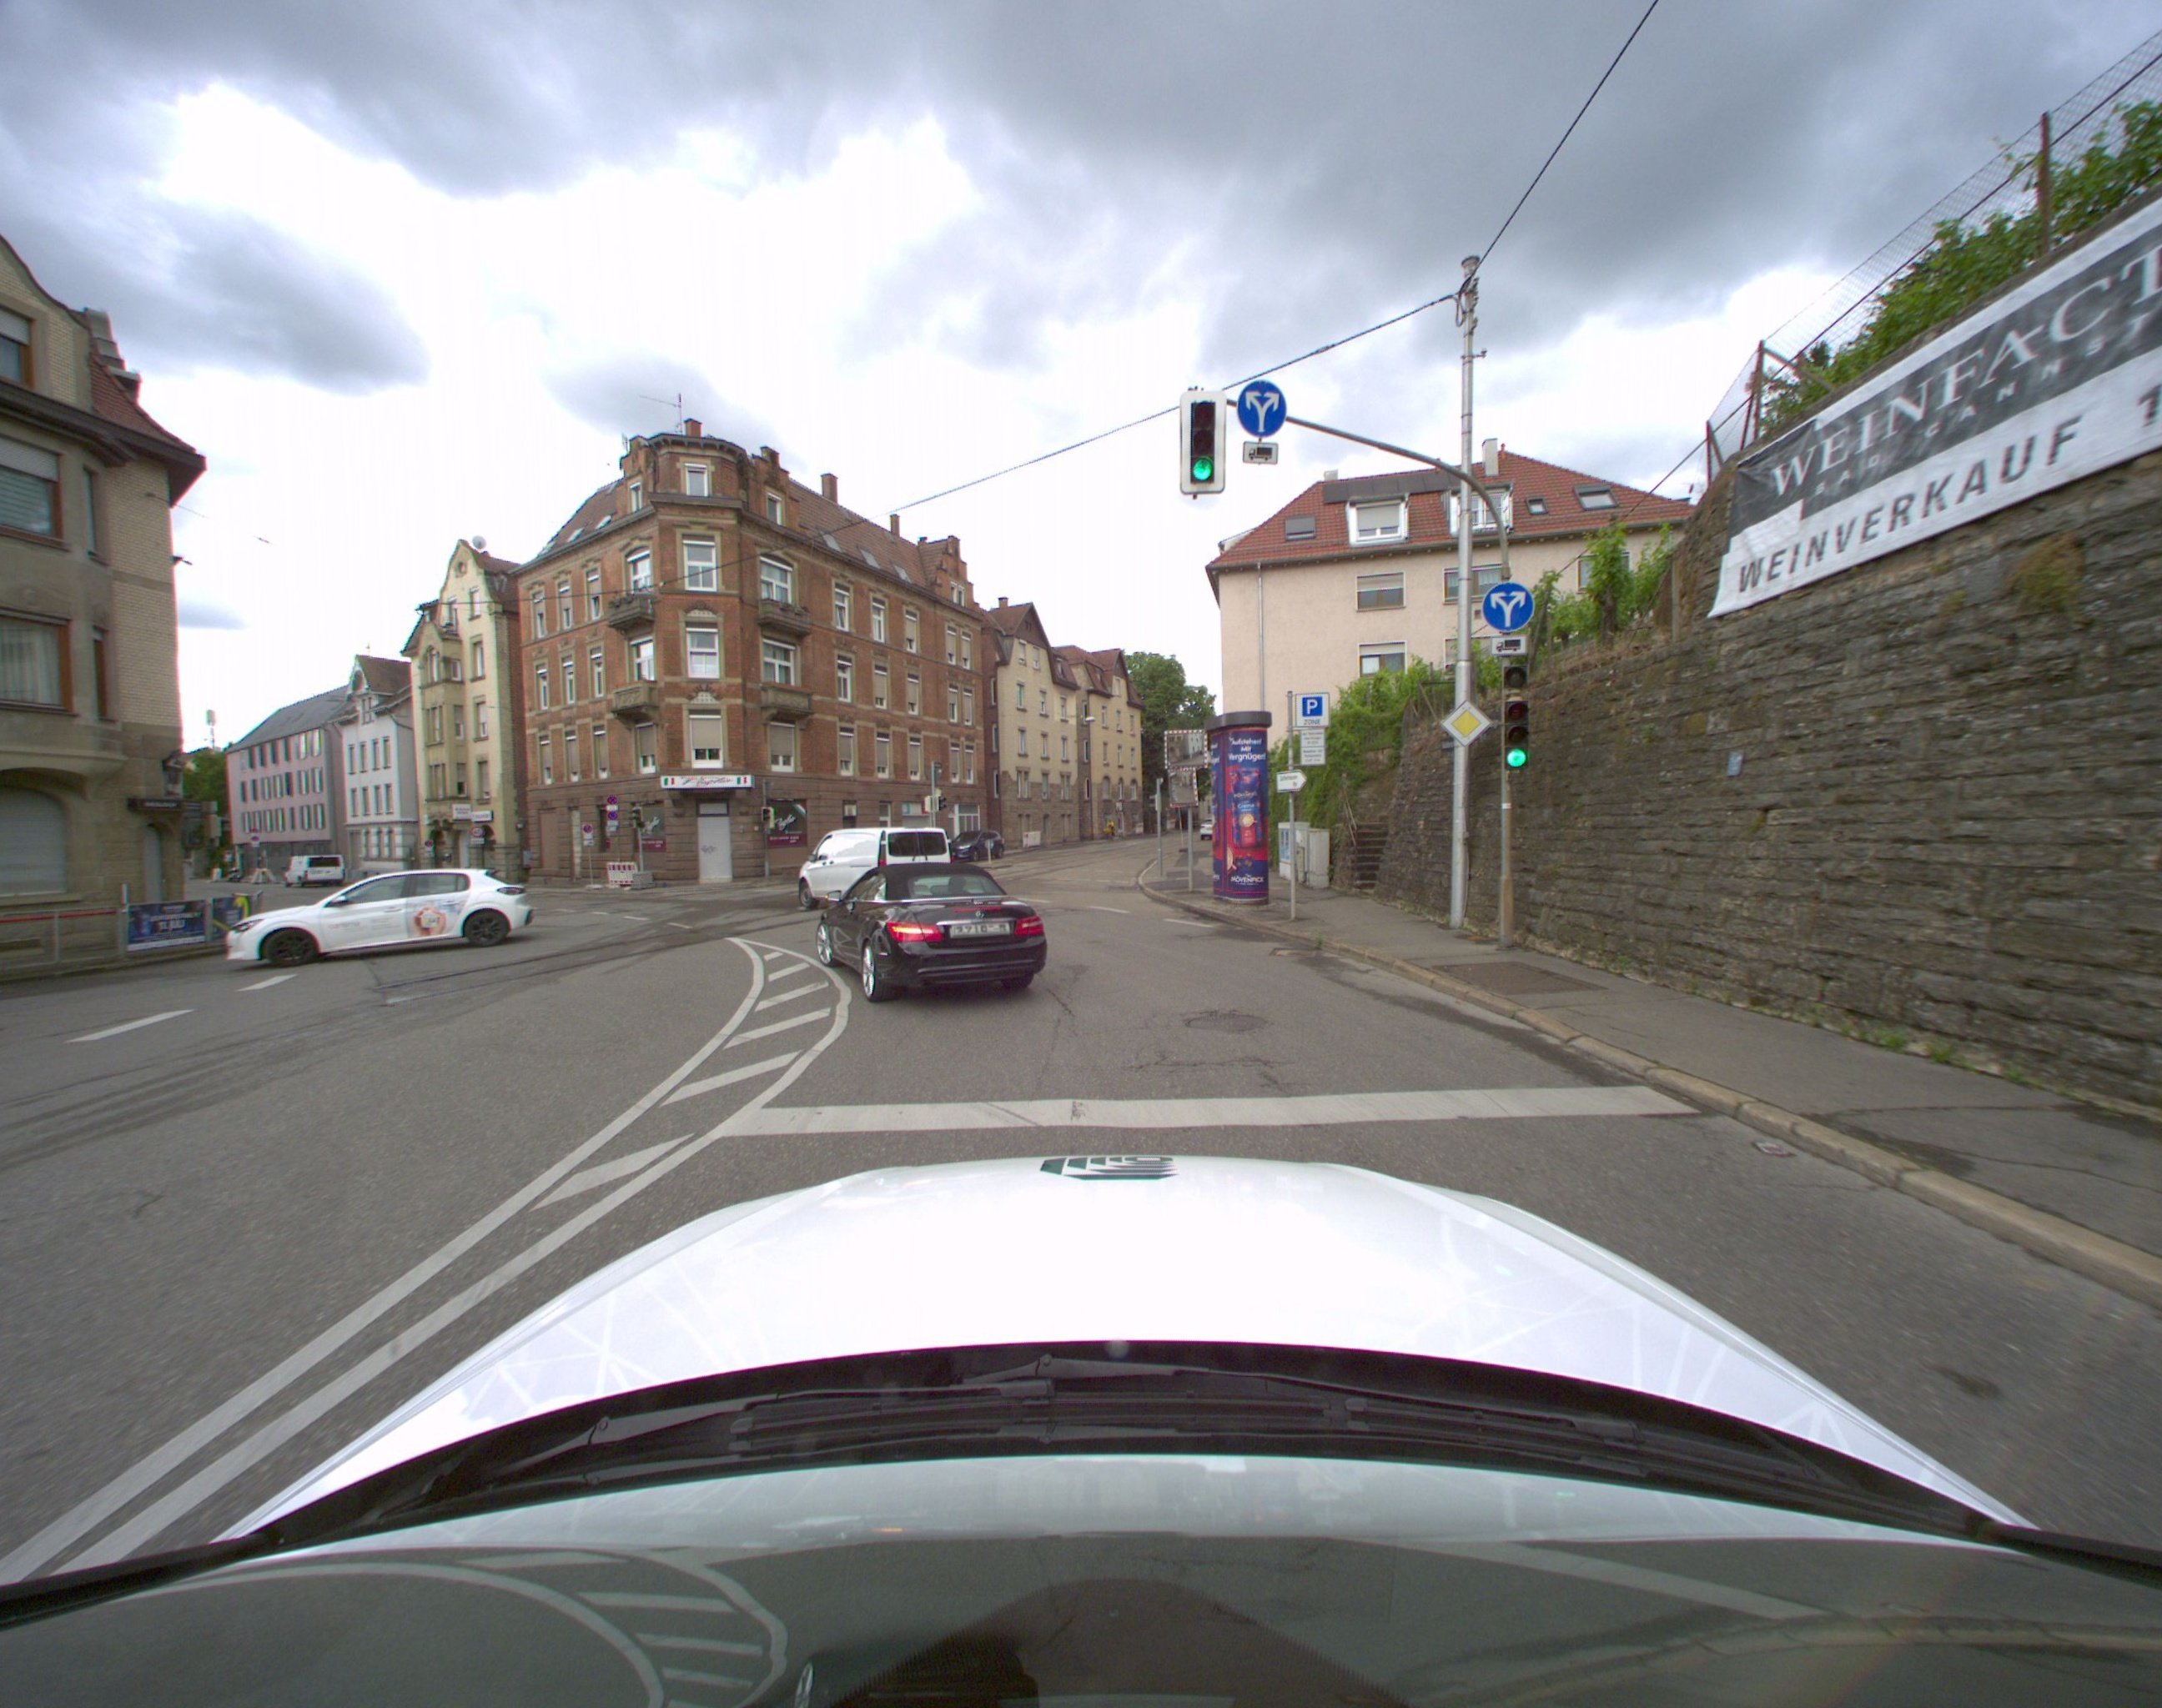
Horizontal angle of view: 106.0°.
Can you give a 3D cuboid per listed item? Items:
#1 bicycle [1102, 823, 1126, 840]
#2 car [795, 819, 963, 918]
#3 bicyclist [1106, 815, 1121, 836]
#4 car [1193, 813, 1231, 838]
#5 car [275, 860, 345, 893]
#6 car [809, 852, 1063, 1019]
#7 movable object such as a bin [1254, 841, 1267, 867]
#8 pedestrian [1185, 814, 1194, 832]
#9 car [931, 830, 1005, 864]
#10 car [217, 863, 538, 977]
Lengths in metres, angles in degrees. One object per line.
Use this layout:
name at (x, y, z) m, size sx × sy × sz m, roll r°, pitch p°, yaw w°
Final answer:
bicycle at (2.873, -1.930, 70.679) m, size 0.625 × 1.306 × 2.616 m, roll -5°, pitch 1°, yaw 36°
car at (-4.790, 0.353, 18.831) m, size 1.908 × 1.928 × 4.591 m, roll -5°, pitch 1°, yaw -39°
bicyclist at (2.814, -2.489, 70.642) m, size 0.934 × 1.702 × 0.791 m, roll -5°, pitch 1°, yaw 37°
car at (10.114, -2.181, 62.624) m, size 1.932 × 1.718 × 4.023 m, roll -4°, pitch 1°, yaw 23°
car at (-49.828, 1.448, 52.611) m, size 4.862 × 2.005 × 2.149 m, roll -1°, pitch 0°, yaw 33°
car at (-1.986, 0.796, 9.813) m, size 1.771 × 1.409 × 4.360 m, roll -5°, pitch 1°, yaw -27°
movable object such as a bin at (6.384, 0.004, 28.959) m, size 0.342 × 0.912 × 0.495 m, roll -1°, pitch 0°, yaw -1°
pedestrian at (12.568, -3.584, 94.209) m, size 0.759 × 2.013 × 0.756 m, roll -4°, pitch 1°, yaw 11°
car at (-6.029, -0.396, 44.087) m, size 1.976 × 1.514 × 4.310 m, roll -3°, pitch 2°, yaw 22°
car at (-12.152, 1.066, 14.455) m, size 3.930 × 1.466 × 1.671 m, roll -5°, pitch 1°, yaw -29°
